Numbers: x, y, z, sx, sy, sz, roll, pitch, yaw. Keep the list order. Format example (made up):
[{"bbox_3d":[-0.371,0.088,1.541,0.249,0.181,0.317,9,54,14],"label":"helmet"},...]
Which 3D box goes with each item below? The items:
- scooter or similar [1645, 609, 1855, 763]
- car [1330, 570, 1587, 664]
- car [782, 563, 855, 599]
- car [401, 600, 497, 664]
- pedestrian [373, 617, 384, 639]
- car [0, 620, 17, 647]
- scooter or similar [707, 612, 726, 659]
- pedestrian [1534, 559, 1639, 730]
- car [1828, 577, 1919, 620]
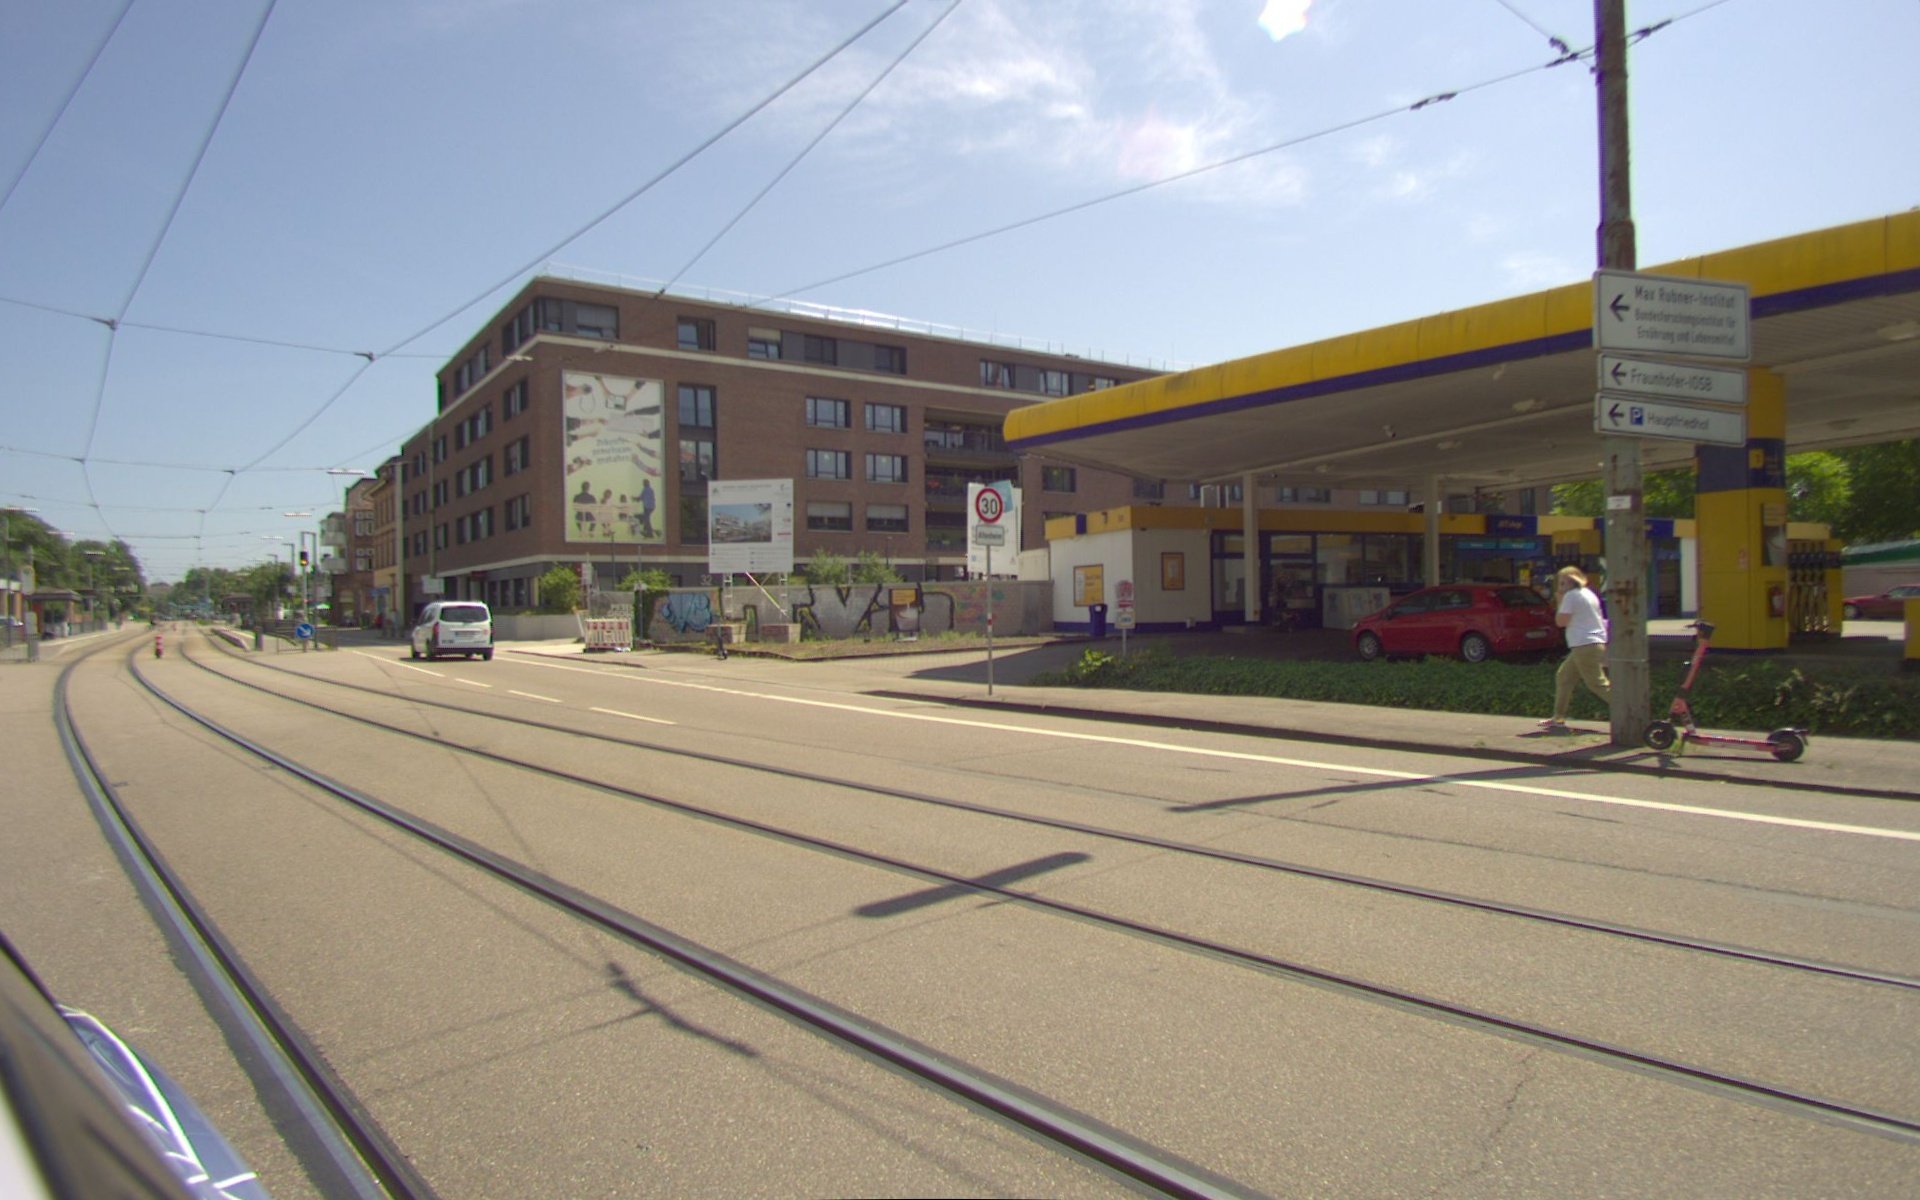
[{"bbox_3d":[6.797,0.702,8.746,1.376,1.209,0.513,-2,1,42],"label":"scooter or similar"},{"bbox_3d":[9.347,0.334,19.393,1.800,1.516,4.212,-3,0,-22],"label":"car"},{"bbox_3d":[-6.453,-0.836,45.806,1.708,1.479,4.011,-2,0,-33],"label":"car"},{"bbox_3d":[-16.239,0.948,32.049,1.967,1.813,4.563,-2,1,-36],"label":"car"},{"bbox_3d":[-43.192,2.052,75.197,0.595,1.608,0.716,-1,-1,-40],"label":"pedestrian"},{"bbox_3d":[-59.600,2.084,62.625,1.724,1.567,4.492,-3,1,-43],"label":"car"},{"bbox_3d":[-6.934,0.989,28.790,0.340,1.274,1.246,-2,1,-21],"label":"scooter or similar"},{"bbox_3d":[6.544,0.445,10.581,0.617,1.704,0.724,-1,0,-37],"label":"pedestrian"},{"bbox_3d":[32.800,-0.065,34.732,1.690,1.420,4.253,-1,0,-19],"label":"car"}]
